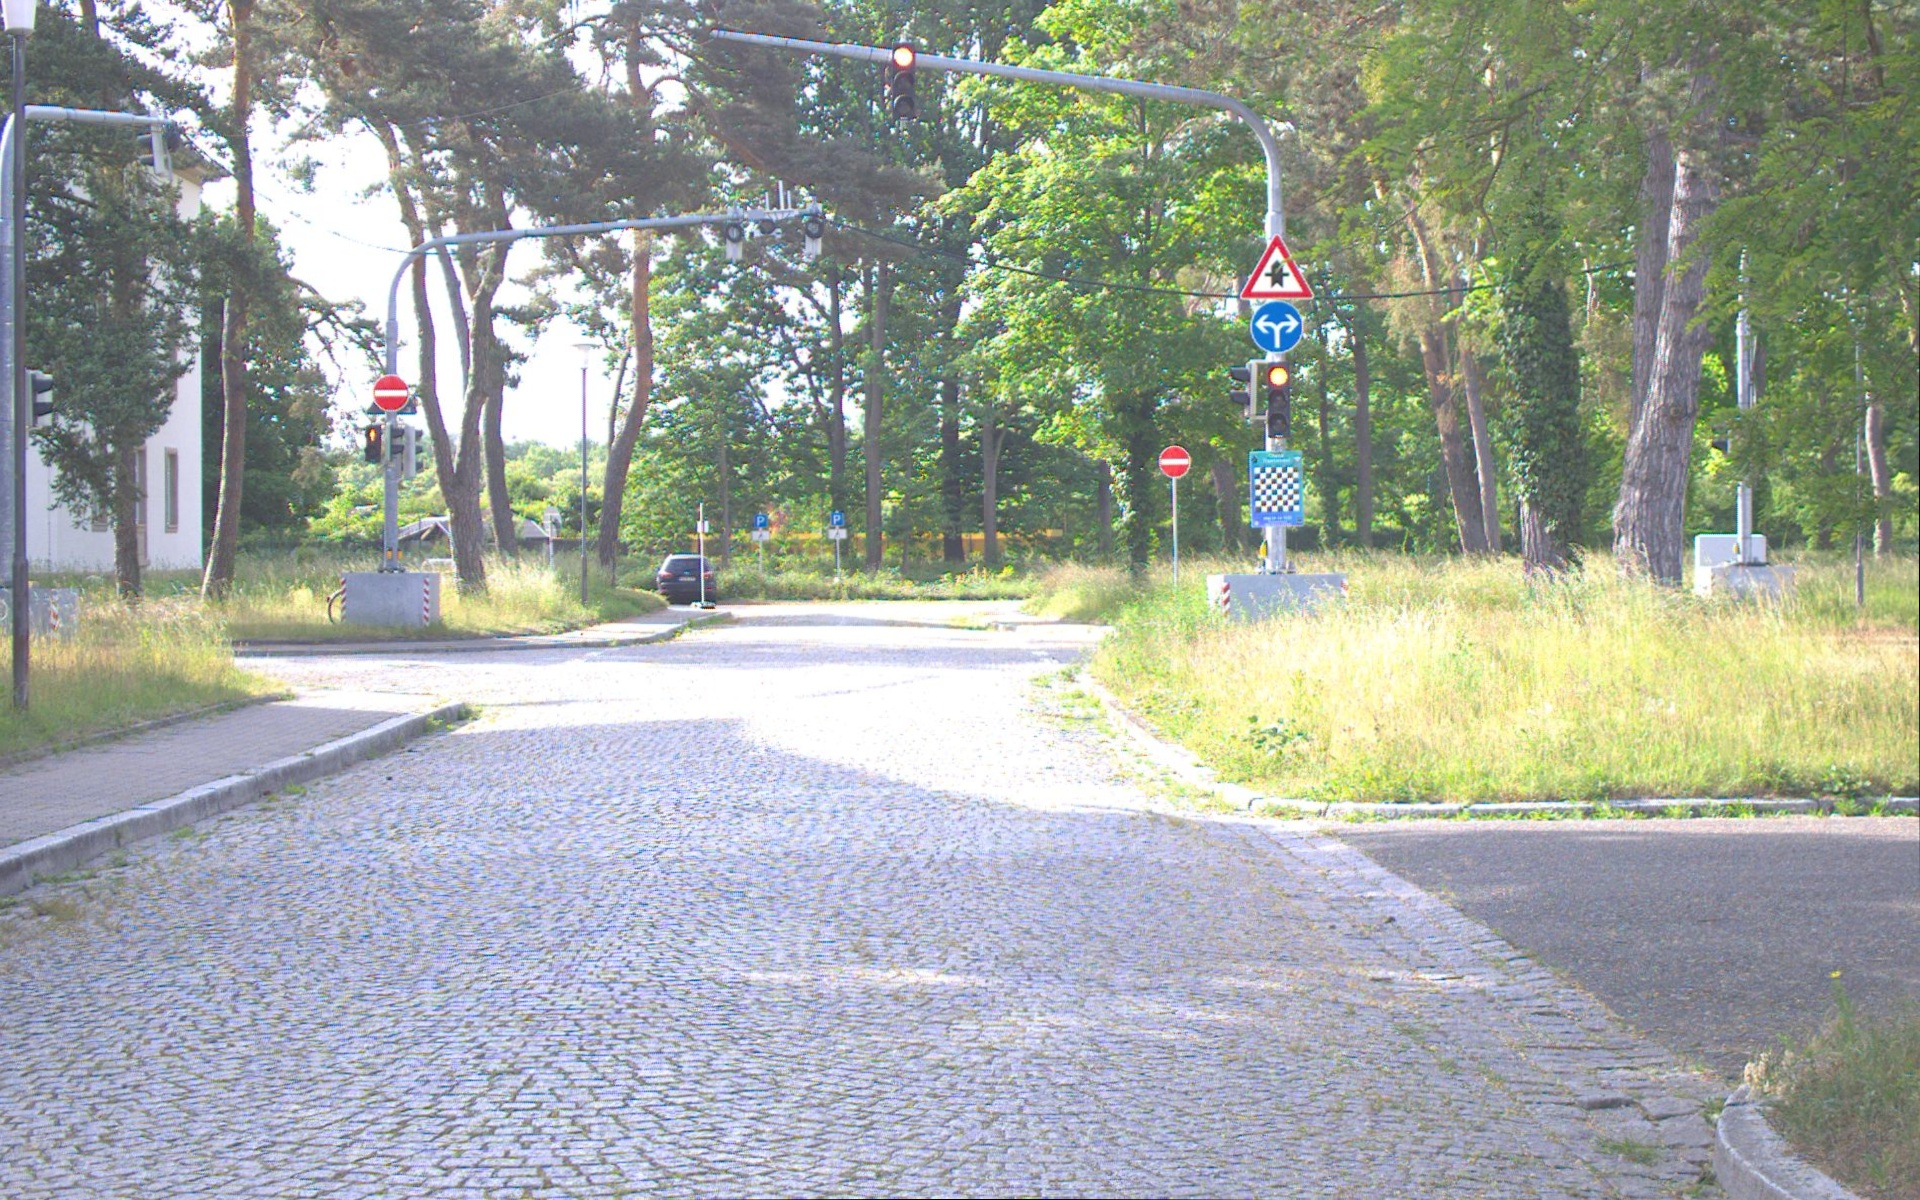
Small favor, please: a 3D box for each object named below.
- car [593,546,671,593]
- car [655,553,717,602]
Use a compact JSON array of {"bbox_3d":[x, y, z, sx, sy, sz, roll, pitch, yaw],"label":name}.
[{"bbox_3d":[-10.619,-0.993,111.497,1.783,1.485,3.754,0,1,6],"label":"car"},{"bbox_3d":[-8.483,-0.712,106.633,1.844,1.481,4.001,0,1,-3],"label":"car"}]
